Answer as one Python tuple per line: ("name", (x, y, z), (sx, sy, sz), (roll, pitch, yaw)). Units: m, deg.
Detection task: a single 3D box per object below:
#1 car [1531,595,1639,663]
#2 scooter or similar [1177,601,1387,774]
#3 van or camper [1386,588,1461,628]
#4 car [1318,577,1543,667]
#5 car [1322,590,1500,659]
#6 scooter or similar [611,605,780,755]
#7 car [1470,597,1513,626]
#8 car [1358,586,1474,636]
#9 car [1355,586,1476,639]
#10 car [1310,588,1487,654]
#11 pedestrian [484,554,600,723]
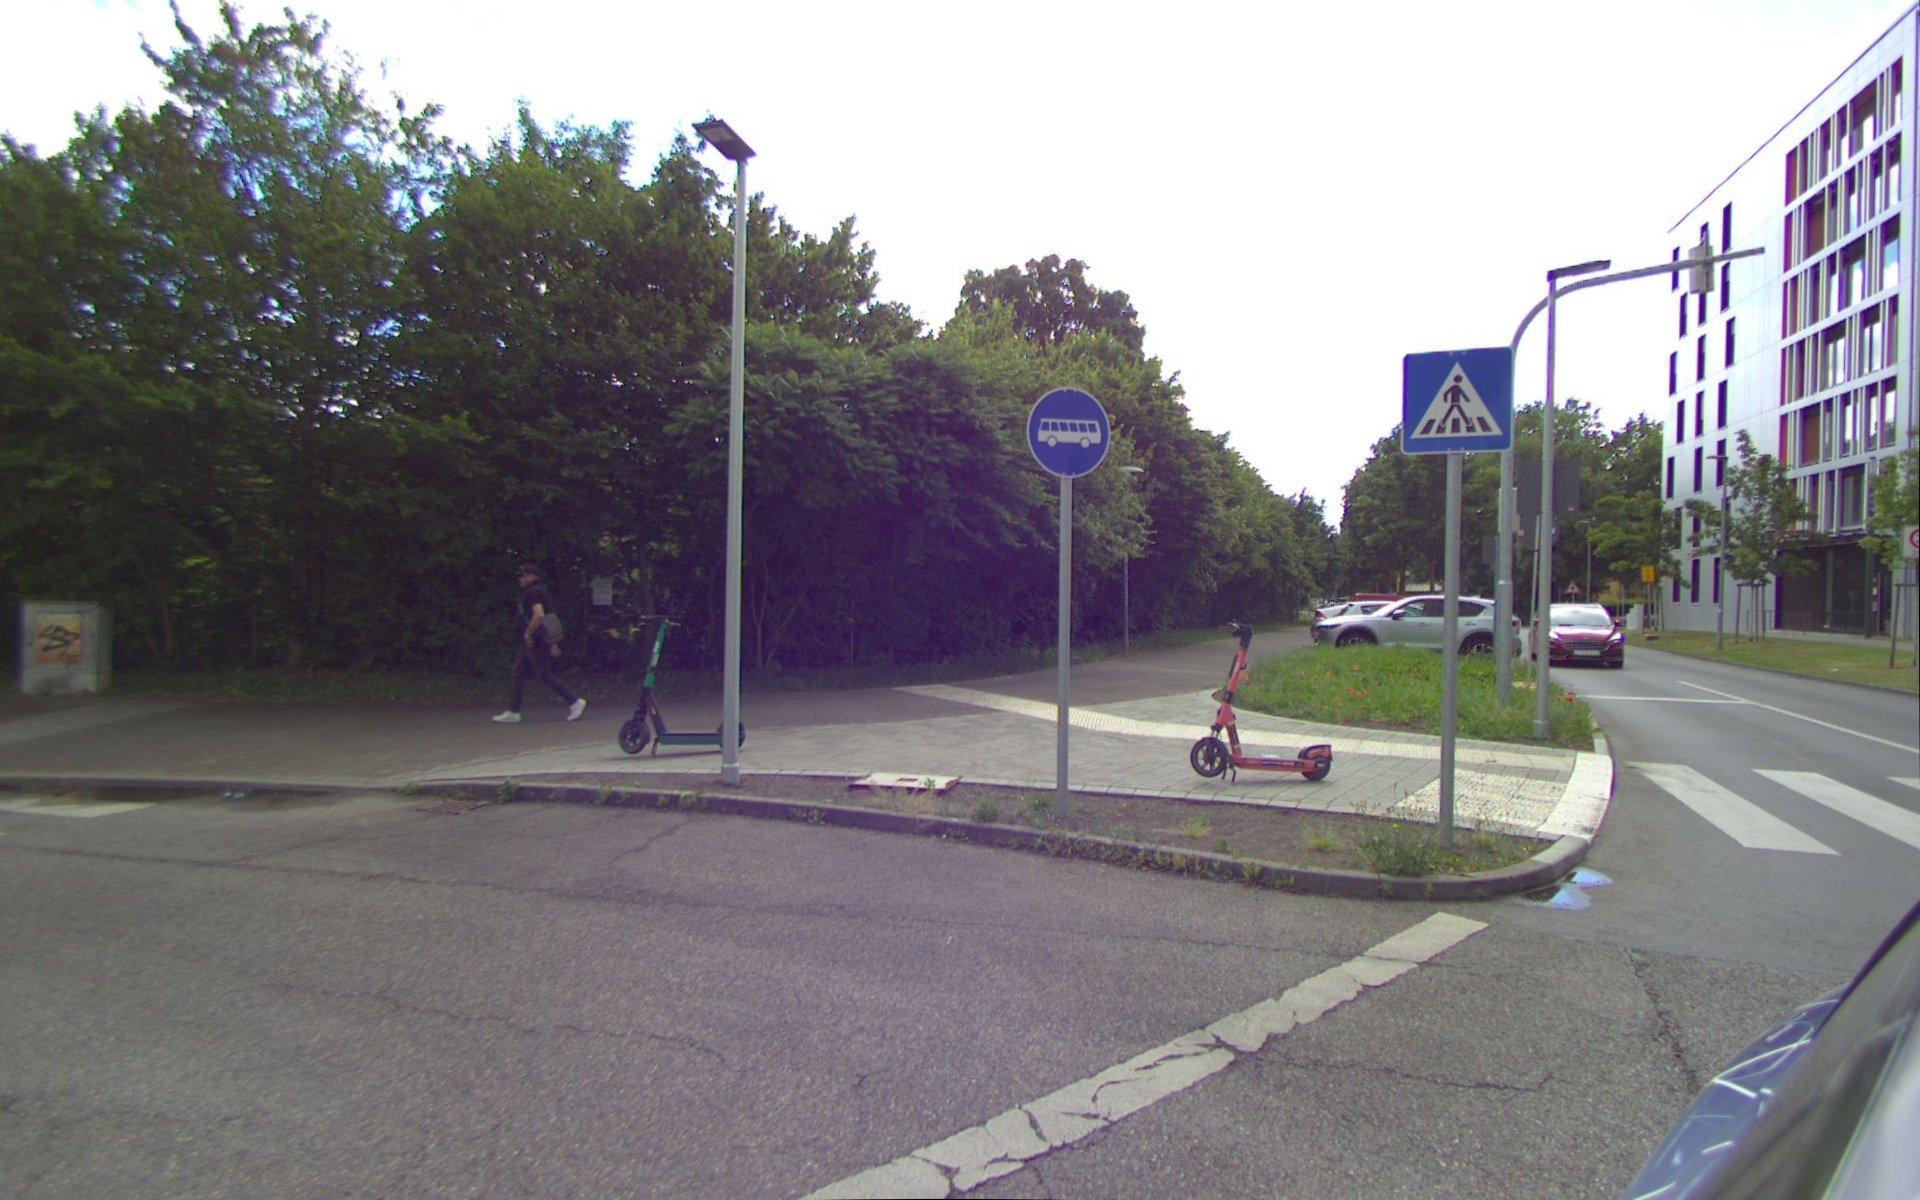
("car", (16.643, 0.705, 27.159), (1.914, 1.652, 4.207), (-1, 0, 25))
("scooter or similar", (2.581, 0.683, 8.173), (1.495, 1.330, 0.573), (1, 0, -6))
("van or camper", (27.771, 0.497, 60.760), (3.937, 2.349, 1.869), (-1, -1, 24))
("car", (11.033, 0.471, 24.111), (4.609, 1.774, 2.055), (3, 1, 22))
("car", (11.803, 0.605, 26.696), (4.122, 1.606, 1.781), (2, 0, 24))
("scooter or similar", (-2.480, 0.707, 9.482), (1.464, 1.291, 0.623), (-1, 0, -21))
("car", (32.716, 0.674, 62.403), (1.796, 1.638, 3.973), (2, 1, 20))
("car", (20.243, 0.462, 45.115), (4.516, 1.922, 1.869), (3, 1, 24))
("car", (18.034, 0.472, 40.239), (4.247, 1.916, 1.823), (2, 0, 24))
("car", (12.468, 0.565, 28.991), (4.443, 1.582, 1.896), (3, 1, 24))
("pedestrian", (-4.766, 0.419, 11.601), (0.966, 1.845, 0.857), (1, 0, 0))
